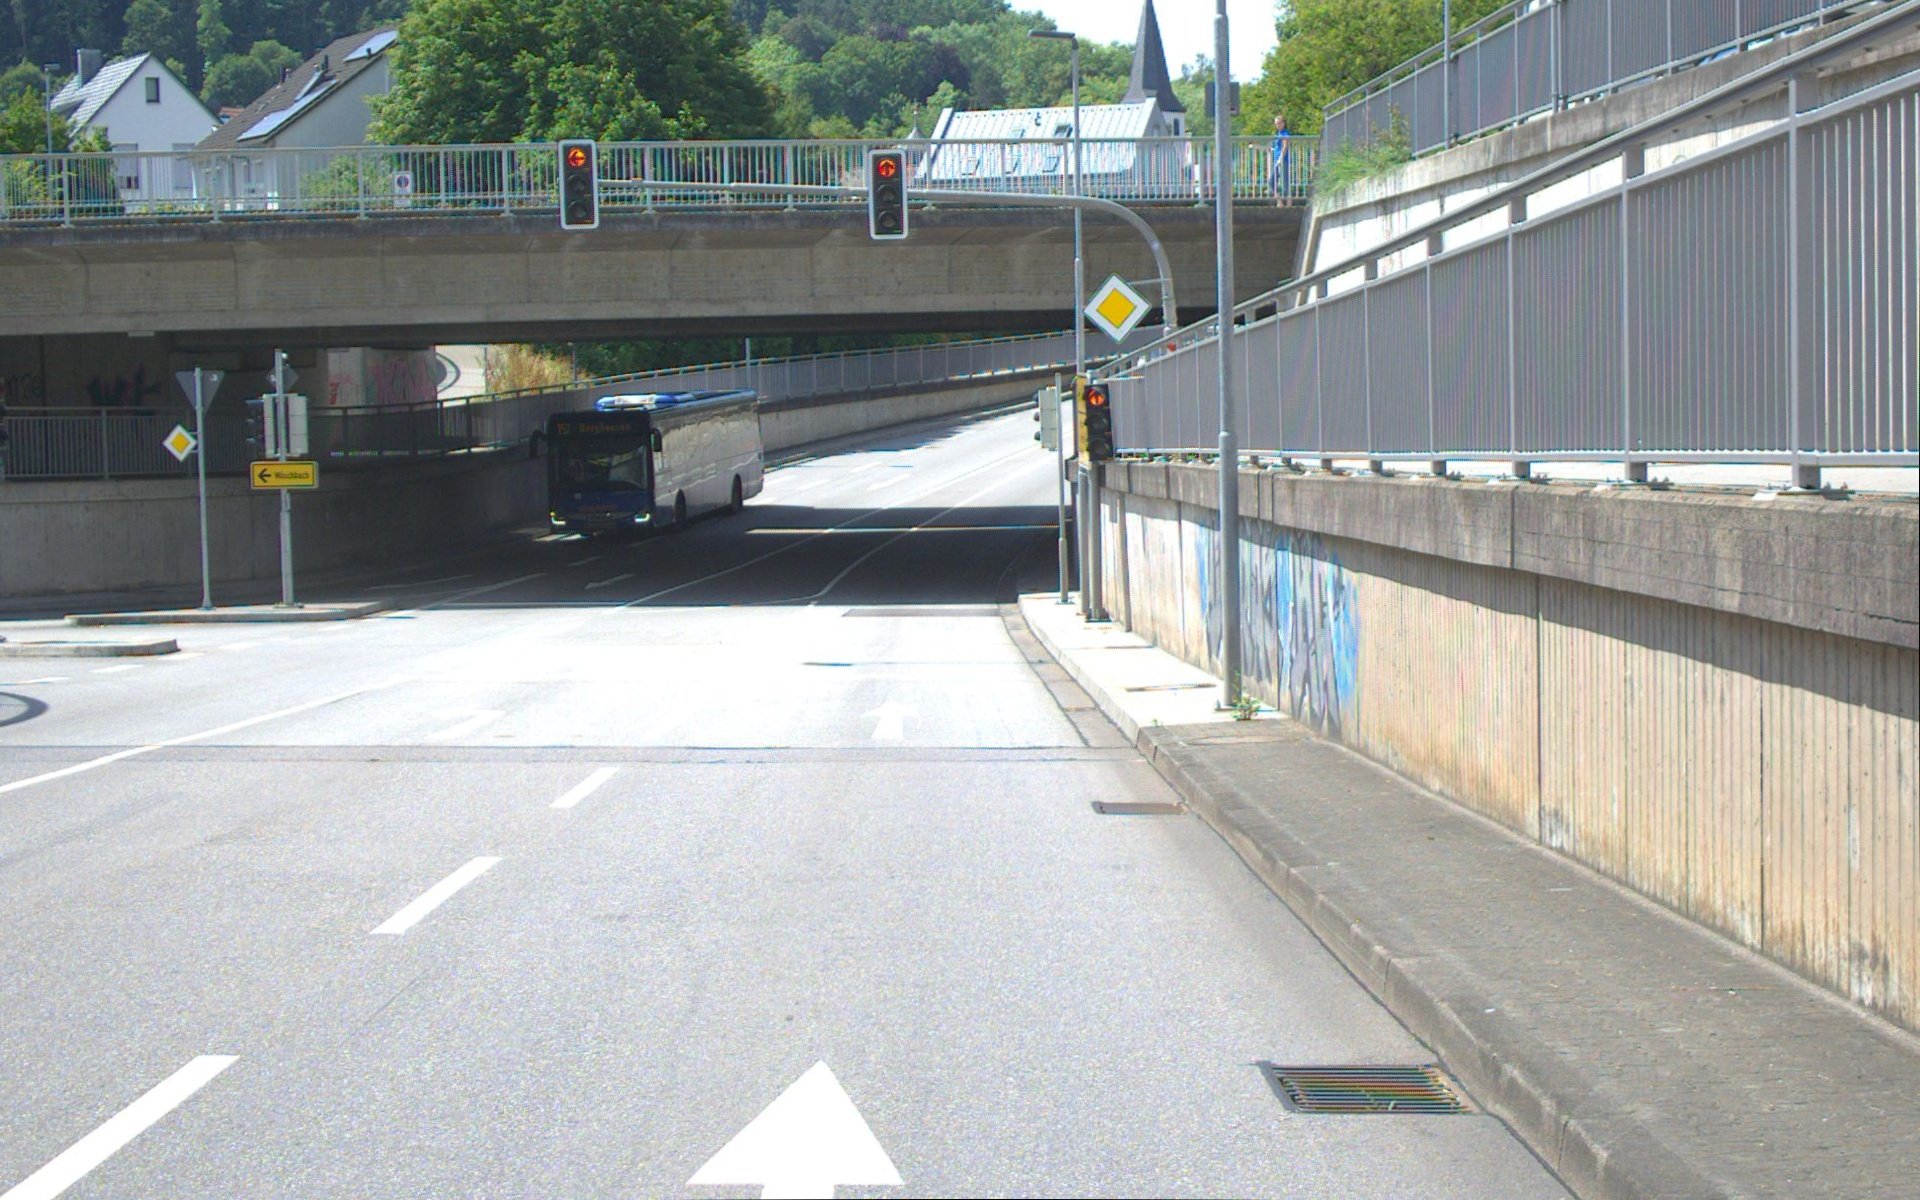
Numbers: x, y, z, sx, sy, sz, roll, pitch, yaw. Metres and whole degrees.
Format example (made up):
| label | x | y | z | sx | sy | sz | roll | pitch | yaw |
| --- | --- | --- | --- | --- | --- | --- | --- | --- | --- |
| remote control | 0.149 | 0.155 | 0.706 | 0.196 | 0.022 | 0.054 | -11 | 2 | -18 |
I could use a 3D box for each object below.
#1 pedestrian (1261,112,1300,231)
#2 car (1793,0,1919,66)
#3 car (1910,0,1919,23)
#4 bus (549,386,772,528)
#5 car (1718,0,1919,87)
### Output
| label | x | y | z | sx | sy | sz | roll | pitch | yaw |
| --- | --- | --- | --- | --- | --- | --- | --- | --- | --- |
| pedestrian | 5.750 | -7.680 | 61.675 | 0.539 | 2.074 | 0.535 | -2 | 1 | -7 |
| car | 9.414 | -5.501 | 29.811 | 3.987 | 1.481 | 1.770 | 0 | 1 | 3 |
| car | 9.461 | -5.282 | 26.188 | 3.987 | 1.481 | 1.770 | 0 | 1 | 3 |
| bus | -7.103 | -3.612 | 83.826 | 2.582 | 3.161 | 12.375 | 0 | 4 | 8 |
| car | 9.588 | -5.893 | 33.669 | 3.987 | 1.481 | 1.770 | 0 | 1 | 3 |
